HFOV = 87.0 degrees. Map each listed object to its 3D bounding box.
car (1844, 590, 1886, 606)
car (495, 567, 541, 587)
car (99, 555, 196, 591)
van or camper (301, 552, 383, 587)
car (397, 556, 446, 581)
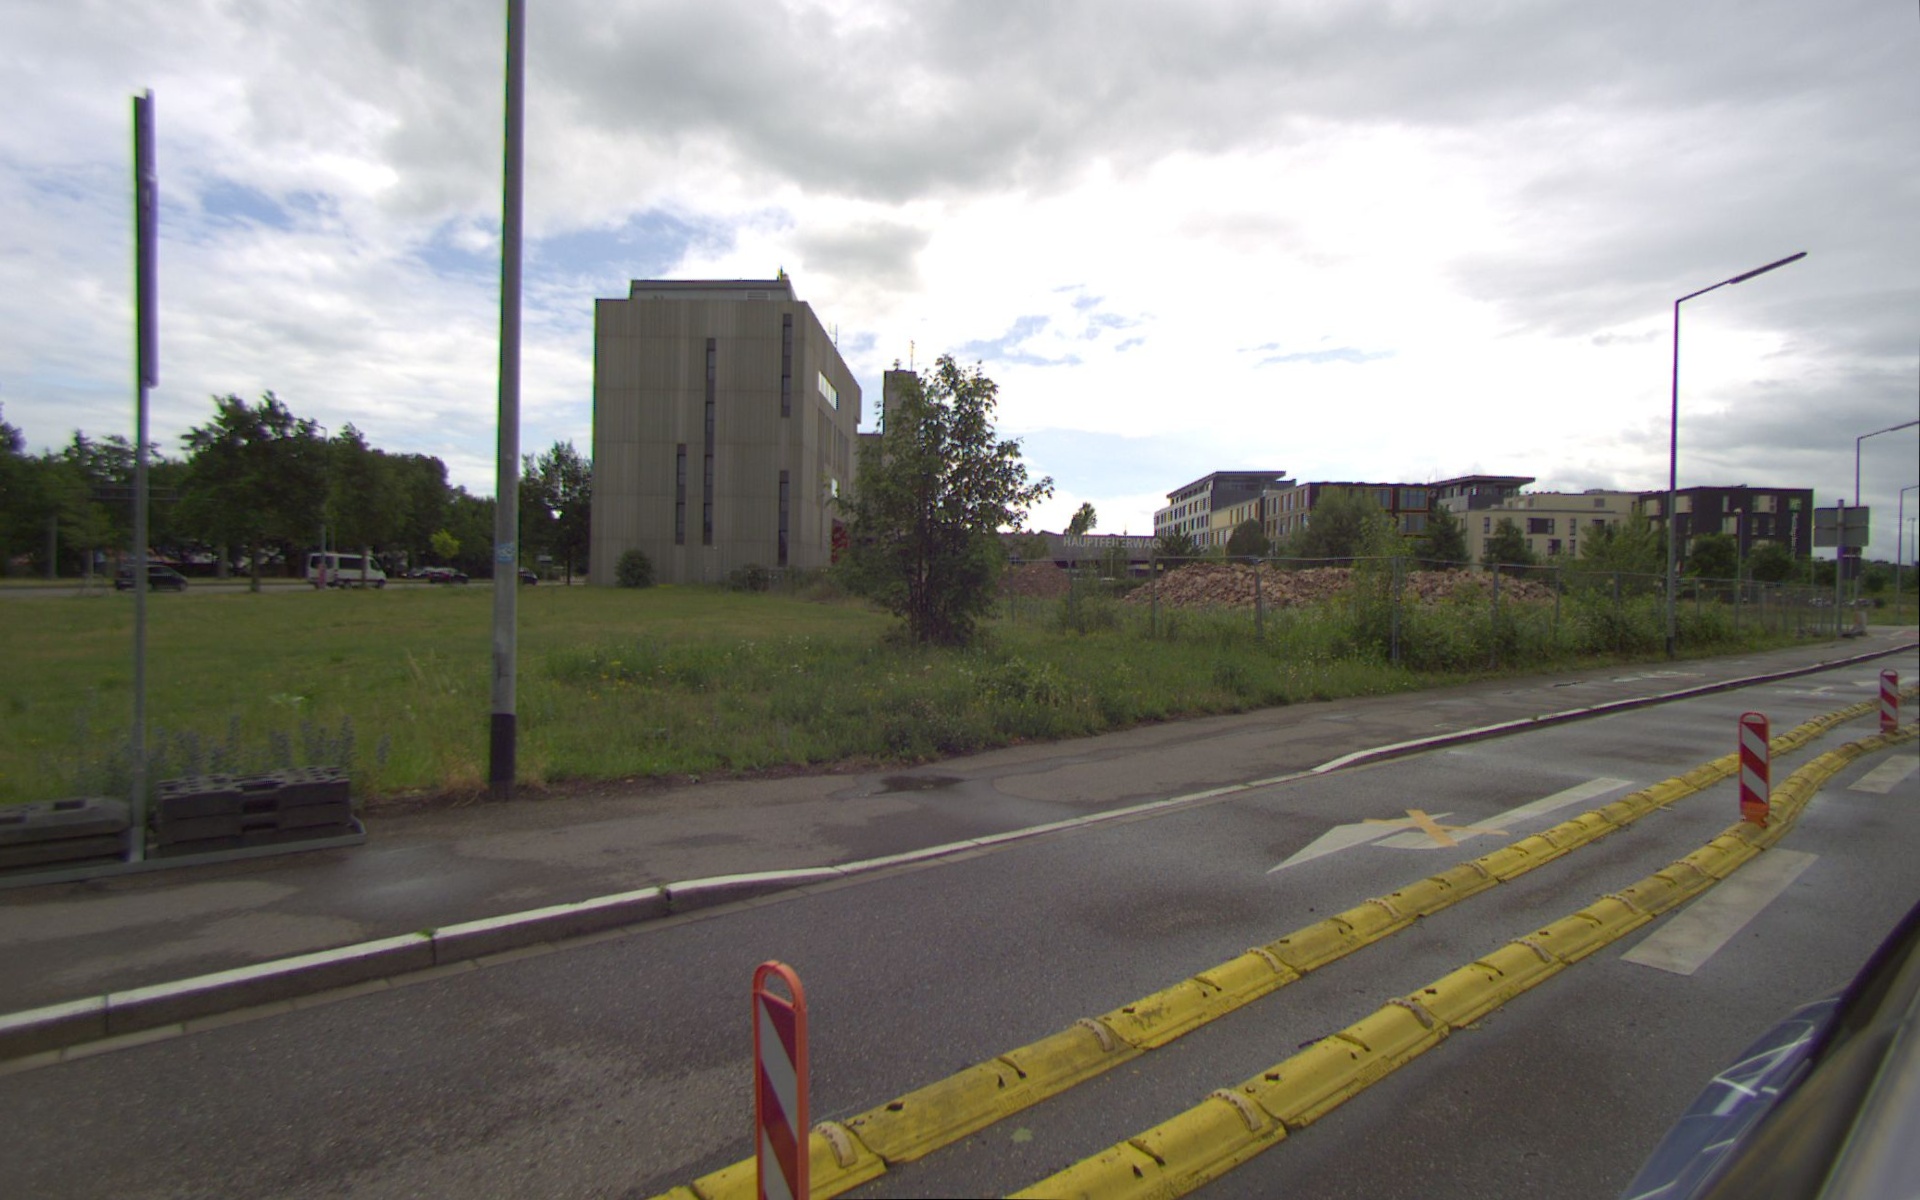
[{"bbox_3d":[125.924,-0.290,140.880,3.925,2.039,2.000,1,1,1],"label":"car"},{"bbox_3d":[-42.666,-2.233,97.793,2.079,1.817,4.601,1,1,6],"label":"car"},{"bbox_3d":[-44.151,-1.462,55.115,1.964,1.872,3.997,1,1,3],"label":"car"},{"bbox_3d":[-40.500,-1.986,66.508,1.963,2.142,5.551,1,1,1],"label":"van or camper"},{"bbox_3d":[-46.021,-2.683,86.564,1.963,2.039,3.998,1,1,2],"label":"car"}]
